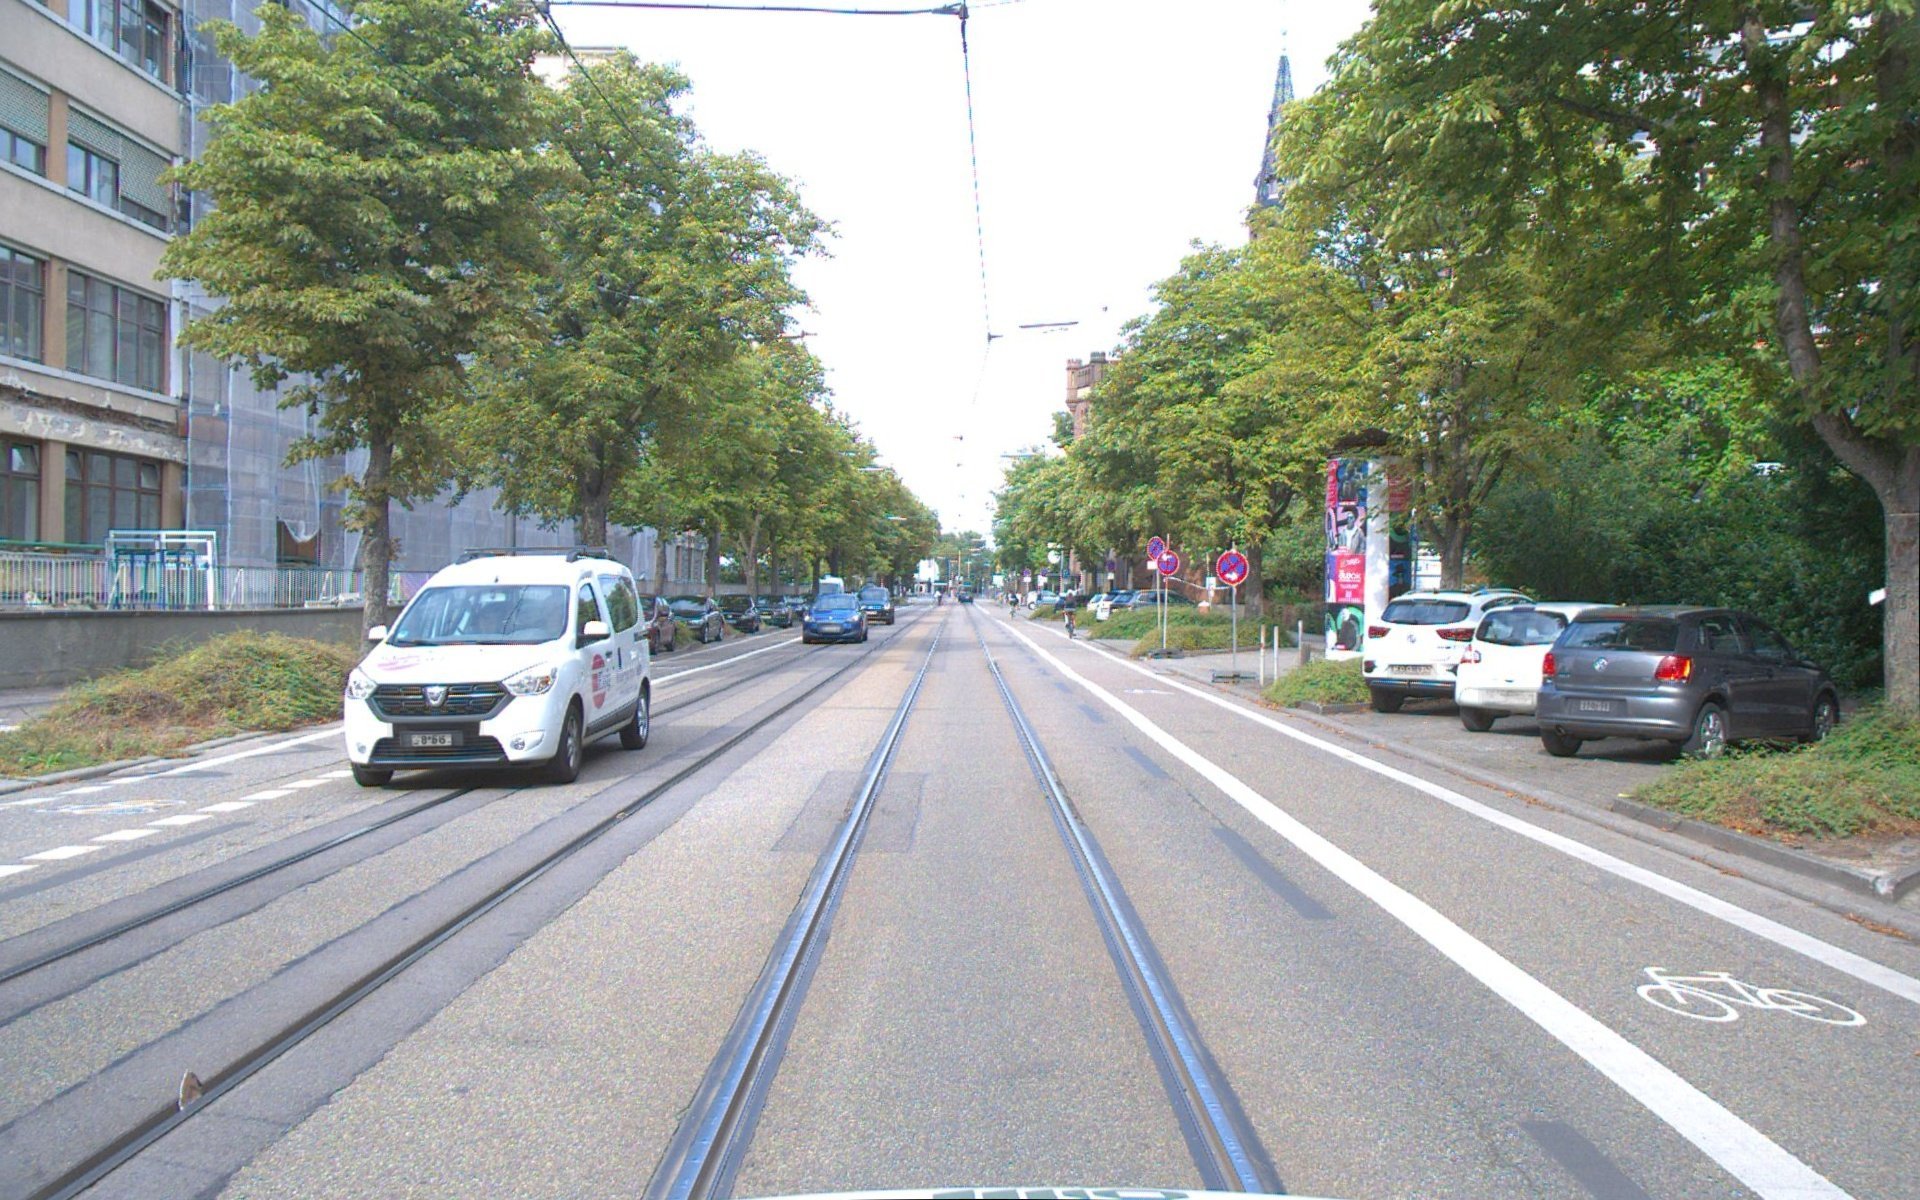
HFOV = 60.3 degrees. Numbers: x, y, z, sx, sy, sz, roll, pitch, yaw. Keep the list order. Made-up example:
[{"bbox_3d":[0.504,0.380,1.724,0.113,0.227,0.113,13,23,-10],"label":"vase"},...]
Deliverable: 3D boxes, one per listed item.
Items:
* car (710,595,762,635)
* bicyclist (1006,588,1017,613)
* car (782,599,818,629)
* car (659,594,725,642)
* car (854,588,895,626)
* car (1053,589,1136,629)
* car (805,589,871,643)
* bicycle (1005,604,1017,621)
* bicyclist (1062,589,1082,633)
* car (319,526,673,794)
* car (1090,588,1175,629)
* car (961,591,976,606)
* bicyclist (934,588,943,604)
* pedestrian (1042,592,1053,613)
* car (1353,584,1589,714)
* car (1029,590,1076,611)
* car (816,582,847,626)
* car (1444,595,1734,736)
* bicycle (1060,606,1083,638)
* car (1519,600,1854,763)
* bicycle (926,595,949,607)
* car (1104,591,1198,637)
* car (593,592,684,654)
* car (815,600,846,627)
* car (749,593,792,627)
[{"bbox_3d":[-8.408,0.535,62.286,1.558,1.427,3.961,1,0,-2],"label":"car"},{"bbox_3d":[3.132,0.037,101.310,0.645,1.522,0.929,1,0,0],"label":"bicyclist"},{"bbox_3d":[-7.983,0.672,82.810,1.558,1.427,3.961,1,0,-2],"label":"car"},{"bbox_3d":[-8.378,0.533,51.974,1.558,1.427,3.961,1,0,-2],"label":"car"},{"bbox_3d":[-3.861,0.274,75.132,1.697,1.657,4.377,-1,0,-1],"label":"car"},{"bbox_3d":[5.765,0.384,70.613,1.654,1.630,3.621,0,0,44],"label":"car"},{"bbox_3d":[-3.639,0.439,49.865,1.697,1.522,4.378,0,1,0],"label":"car"},{"bbox_3d":[3.118,0.761,101.306,0.650,1.062,1.841,1,0,0],"label":"bicycle"},{"bbox_3d":[3.863,0.384,57.179,0.581,1.485,0.875,1,0,-2],"label":"bicyclist"},{"bbox_3d":[-3.745,0.420,14.173,1.696,1.917,4.379,1,0,1],"label":"car"},{"bbox_3d":[7.153,0.361,68.487,1.654,1.630,3.621,0,0,44],"label":"car"},{"bbox_3d":[1.089,-0.217,216.650,1.758,1.855,4.677,1,0,-1],"label":"car"},{"bbox_3d":[-2.218,-0.415,168.743,0.828,1.531,0.769,1,0,7],"label":"bicyclist"},{"bbox_3d":[7.652,0.230,144.615,0.732,1.821,0.731,1,-1,15],"label":"pedestrian"},{"bbox_3d":[7.048,0.632,22.643,1.654,1.630,3.621,0,0,44],"label":"car"},{"bbox_3d":[8.084,0.024,144.867,3.910,1.722,1.998,1,0,-6],"label":"car"},{"bbox_3d":[-8.230,0.230,106.358,1.686,2.751,5.468,1,0,-2],"label":"car"},{"bbox_3d":[7.435,0.717,19.432,3.612,1.500,1.658,1,0,-40],"label":"car"},{"bbox_3d":[3.854,0.737,57.178,0.581,1.062,1.977,1,0,-2],"label":"bicycle"},{"bbox_3d":[7.305,0.741,16.503,3.612,1.444,1.658,1,0,-40],"label":"car"},{"bbox_3d":[-2.274,0.112,168.747,2.226,1.210,0.769,1,0,7],"label":"bicycle"},{"bbox_3d":[7.152,0.521,61.688,1.654,1.630,3.621,0,0,44],"label":"car"},{"bbox_3d":[-8.263,0.562,42.775,1.602,1.522,3.962,1,0,-1],"label":"car"},{"bbox_3d":[-7.277,0.728,93.014,1.558,1.427,3.961,1,0,-2],"label":"car"},{"bbox_3d":[-8.289,0.429,72.587,1.558,1.427,3.961,1,0,-2],"label":"car"}]
